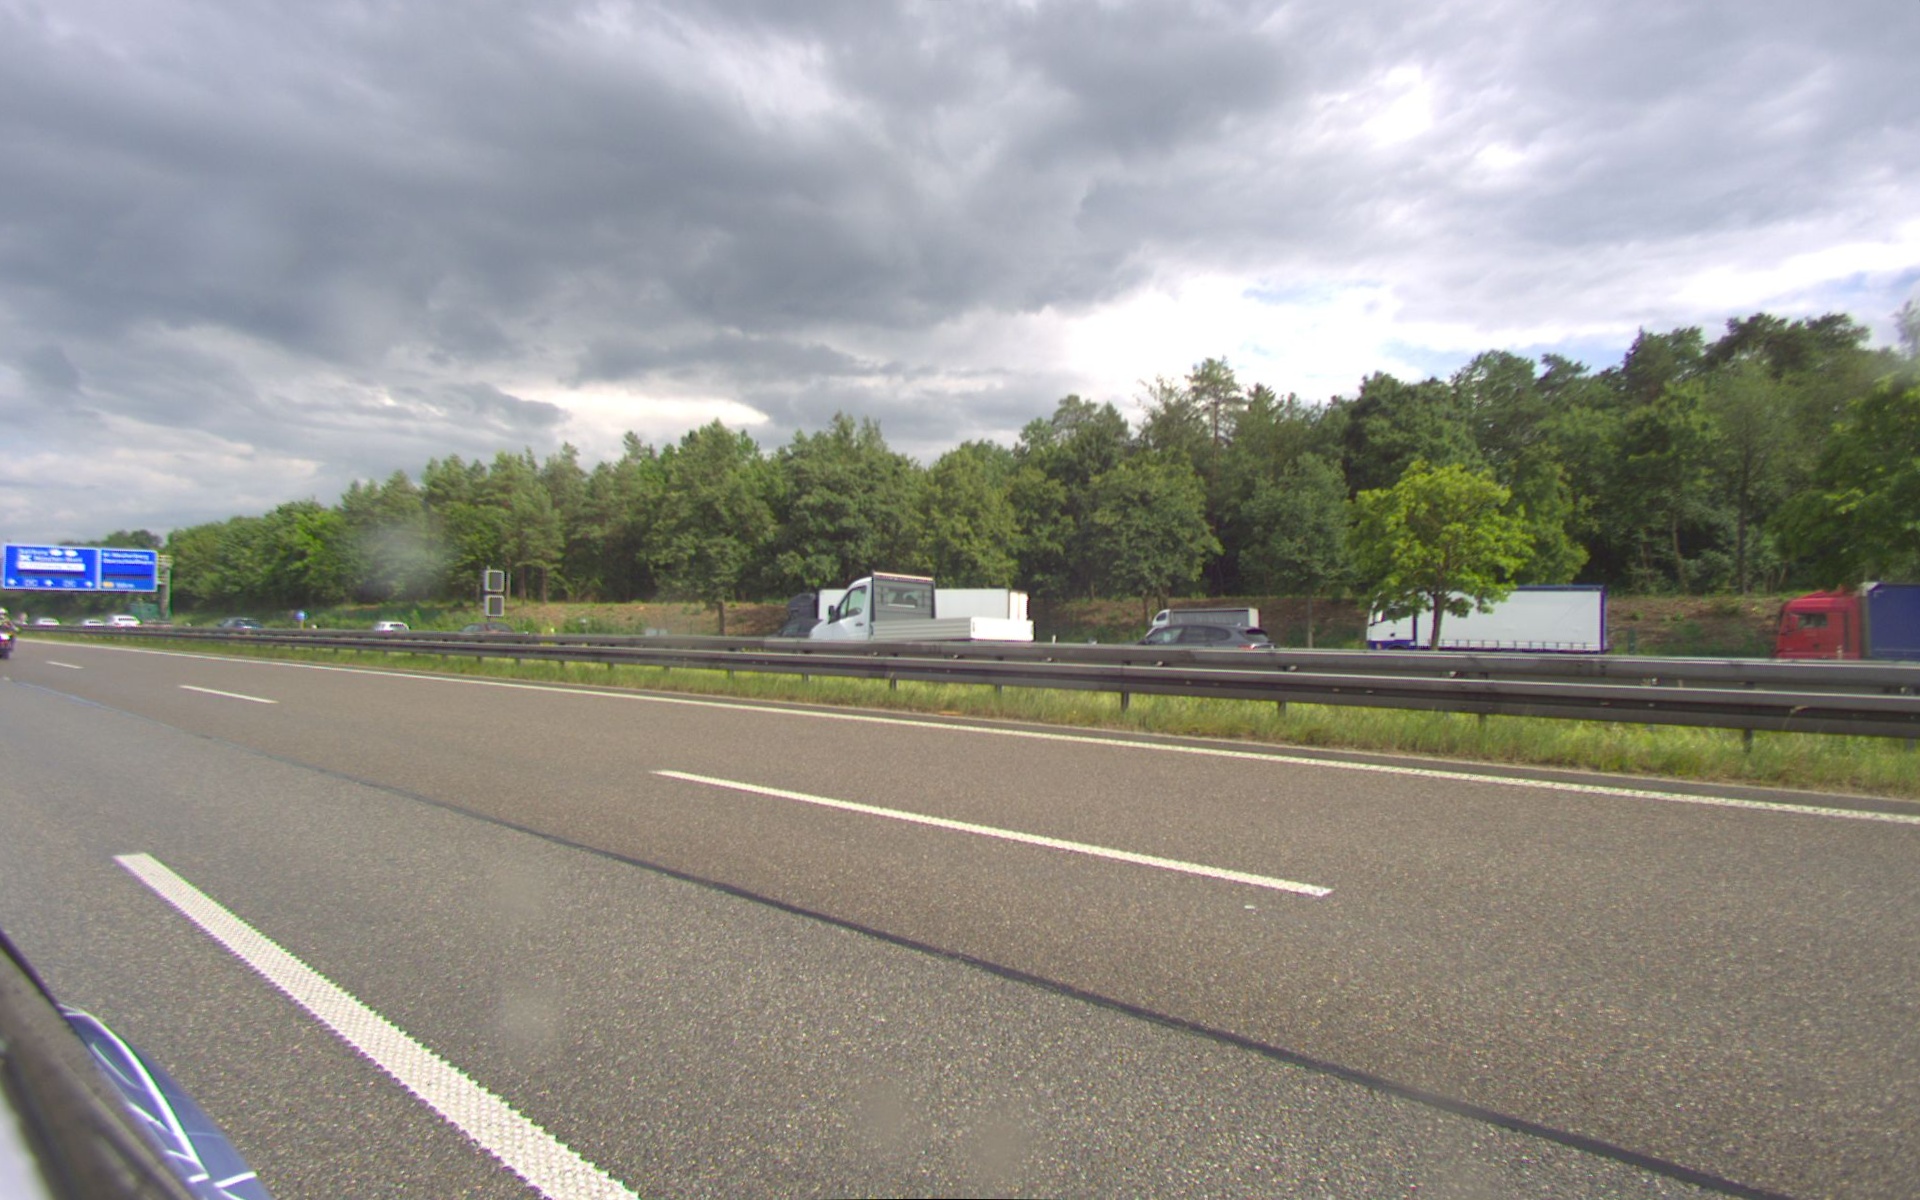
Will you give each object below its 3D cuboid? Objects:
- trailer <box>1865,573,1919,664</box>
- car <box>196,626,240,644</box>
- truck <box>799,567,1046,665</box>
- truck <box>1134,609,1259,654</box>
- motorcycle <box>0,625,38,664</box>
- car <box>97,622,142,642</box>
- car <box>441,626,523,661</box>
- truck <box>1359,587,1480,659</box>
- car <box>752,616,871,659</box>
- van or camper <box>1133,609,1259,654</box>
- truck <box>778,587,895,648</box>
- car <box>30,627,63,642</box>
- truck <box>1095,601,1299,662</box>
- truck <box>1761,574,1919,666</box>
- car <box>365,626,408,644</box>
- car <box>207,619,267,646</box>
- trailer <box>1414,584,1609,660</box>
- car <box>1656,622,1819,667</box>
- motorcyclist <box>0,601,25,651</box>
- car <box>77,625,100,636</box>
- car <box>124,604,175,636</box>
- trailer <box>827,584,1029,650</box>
[{"bbox_3d":[41.607,0.646,36.216,13.393,3.431,2.799,-1,-2,35],"label":"trailer"},{"bbox_3d":[-62.513,2.937,85.238,5.156,1.403,1.953,-1,0,41],"label":"car"},{"bbox_3d":[-0.946,0.316,22.379,5.444,1.909,2.233,-1,0,41],"label":"truck"},{"bbox_3d":[12.730,1.660,54.610,6.290,2.282,2.105,-1,0,29],"label":"truck"},{"bbox_3d":[-33.509,1.543,35.550,3.190,1.235,1.173,-1,0,38],"label":"motorcycle"},{"bbox_3d":[-65.543,2.437,78.843,5.418,1.403,1.879,-1,0,41],"label":"car"},{"bbox_3d":[-21.919,1.958,46.358,4.432,1.403,1.811,-1,0,41],"label":"car"},{"bbox_3d":[22.131,1.055,48.782,5.068,3.292,2.635,-1,0,31],"label":"truck"},{"bbox_3d":[-5.408,1.317,36.569,4.432,1.403,1.811,-1,0,41],"label":"car"},{"bbox_3d":[12.700,1.661,54.579,6.295,2.282,2.105,-1,0,29],"label":"van or camper"},{"bbox_3d":[-7.949,1.086,65.107,6.882,3.732,3.188,-1,0,27],"label":"truck"},{"bbox_3d":[-92.797,3.473,102.738,5.418,1.403,1.879,-1,0,41],"label":"car"},{"bbox_3d":[5.164,0.644,22.322,3.998,1.203,1.868,-1,0,41],"label":"truck"},{"bbox_3d":[35.787,0.747,40.270,5.882,3.482,2.837,-1,0,34],"label":"truck"},{"bbox_3d":[-36.262,2.213,64.003,3.113,1.065,1.430,-1,0,41],"label":"car"},{"bbox_3d":[-40.909,1.820,57.262,4.432,1.403,1.811,-1,0,41],"label":"car"},{"bbox_3d":[25.400,1.008,46.850,7.715,3.257,2.560,-1,-1,32],"label":"trailer"},{"bbox_3d":[37.728,2.124,49.368,6.115,2.029,1.978,-1,0,33],"label":"car"},{"bbox_3d":[-33.510,0.912,35.510,1.000,1.719,0.872,-1,0,39],"label":"motorcyclist"},{"bbox_3d":[-90.895,3.181,105.511,3.113,1.065,1.430,-1,0,41],"label":"car"},{"bbox_3d":[-83.718,2.017,104.487,7.341,3.133,2.913,-1,0,41],"label":"car"},{"bbox_3d":[-2.129,1.040,62.086,12.509,3.767,3.184,-1,-1,28],"label":"trailer"}]
